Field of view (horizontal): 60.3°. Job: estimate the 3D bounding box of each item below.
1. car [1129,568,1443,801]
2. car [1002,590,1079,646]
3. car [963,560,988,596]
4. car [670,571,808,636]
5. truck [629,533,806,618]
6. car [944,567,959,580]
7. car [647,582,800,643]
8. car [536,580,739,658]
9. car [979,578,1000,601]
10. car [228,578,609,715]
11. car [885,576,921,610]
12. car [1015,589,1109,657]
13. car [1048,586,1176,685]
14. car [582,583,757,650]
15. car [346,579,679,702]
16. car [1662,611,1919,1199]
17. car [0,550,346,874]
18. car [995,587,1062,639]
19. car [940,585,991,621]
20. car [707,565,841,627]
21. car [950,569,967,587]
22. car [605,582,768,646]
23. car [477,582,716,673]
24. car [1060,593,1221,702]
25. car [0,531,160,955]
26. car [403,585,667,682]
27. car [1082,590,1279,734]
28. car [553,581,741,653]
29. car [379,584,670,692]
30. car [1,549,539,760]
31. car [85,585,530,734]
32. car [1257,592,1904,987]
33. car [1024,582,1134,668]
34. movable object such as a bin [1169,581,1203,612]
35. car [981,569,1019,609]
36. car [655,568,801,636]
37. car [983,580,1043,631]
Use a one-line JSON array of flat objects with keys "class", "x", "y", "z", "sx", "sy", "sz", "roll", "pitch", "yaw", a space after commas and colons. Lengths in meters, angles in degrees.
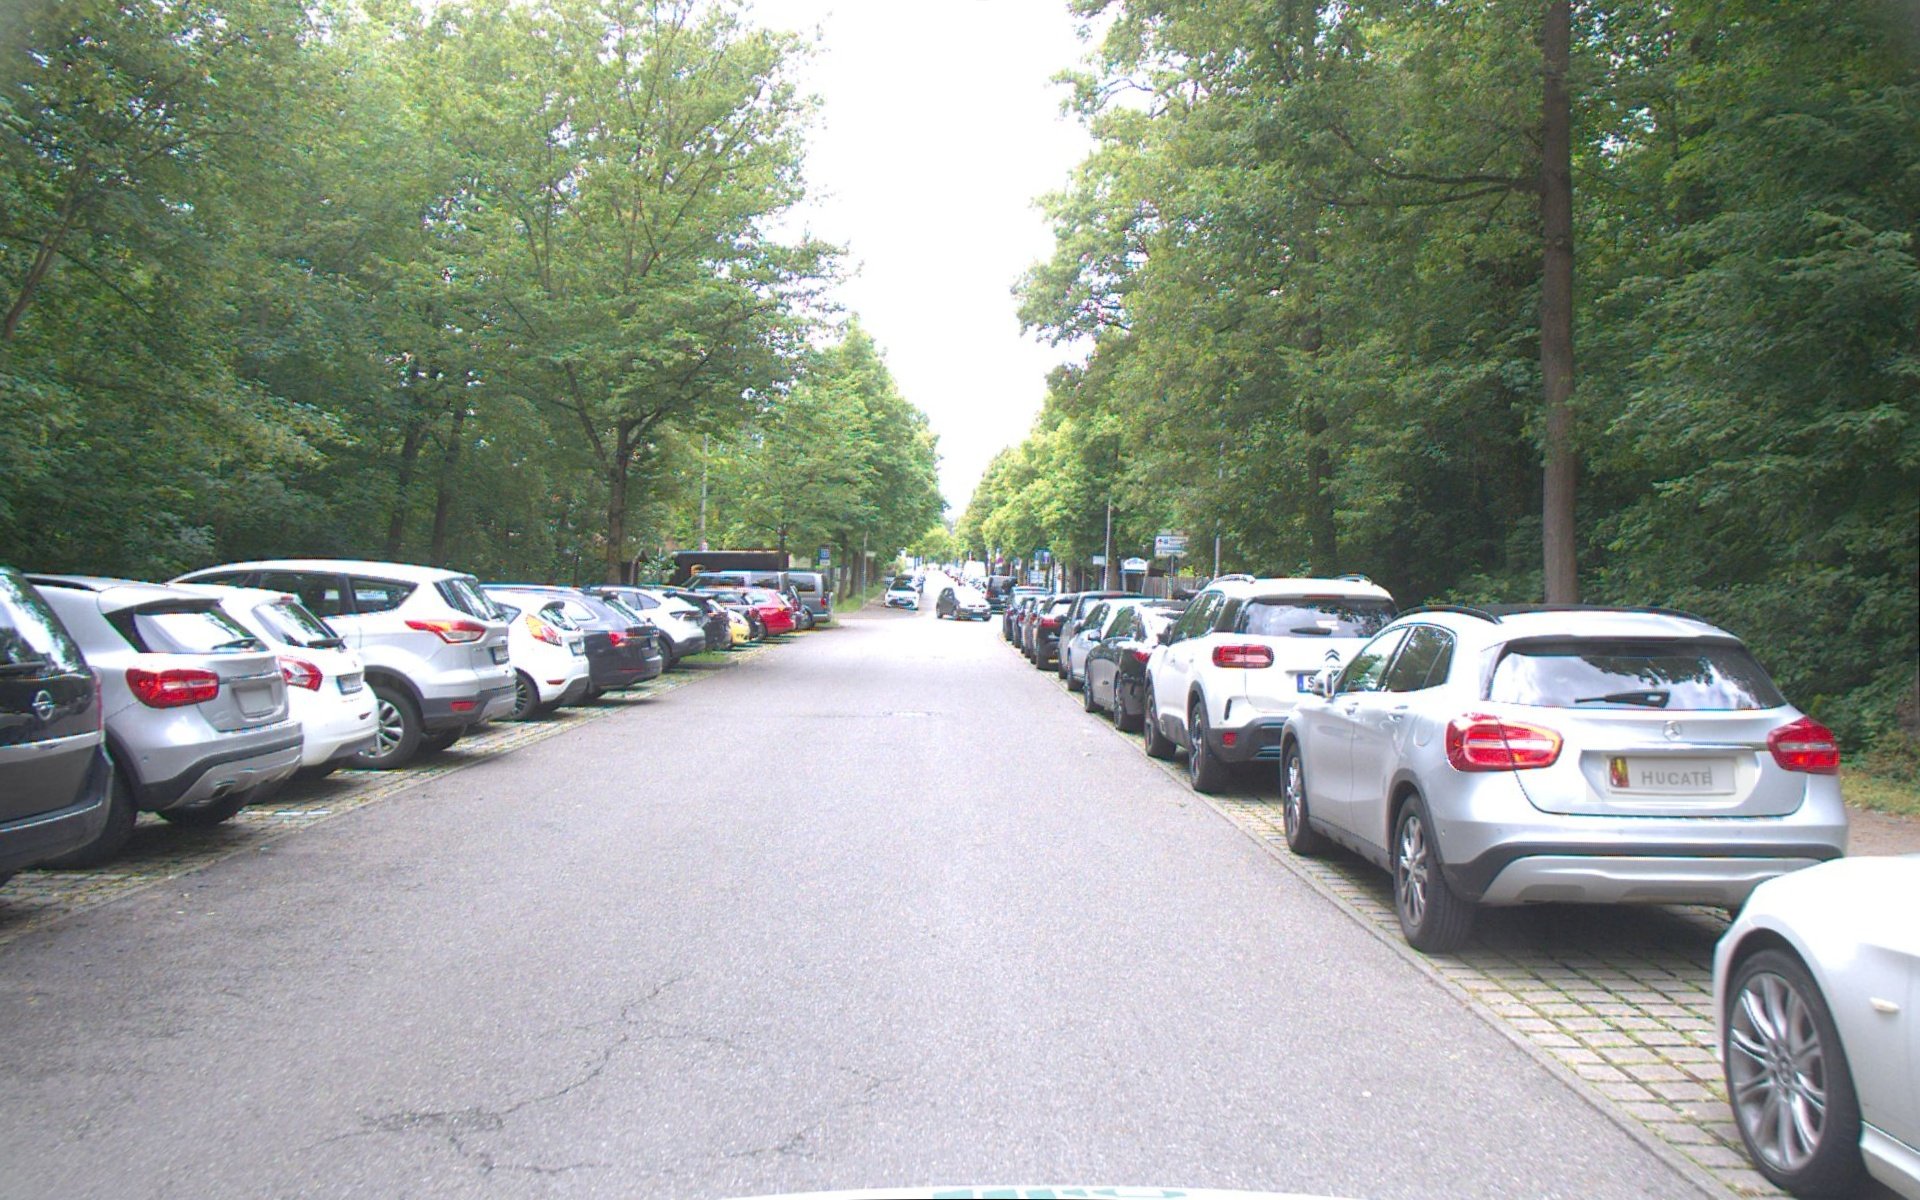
[{"class": "car", "x": 2.648, "y": 0.604, "z": 14.666, "sx": 1.701, "sy": 1.672, "sz": 5.071, "roll": 1, "pitch": 0, "yaw": -1}, {"class": "car", "x": 2.208, "y": 0.458, "z": 46.183, "sx": 1.701, "sy": 1.457, "sz": 4.499, "roll": 1, "pitch": 0, "yaw": -3}, {"class": "car", "x": 1.393, "y": -1.936, "z": 146.939, "sx": 2.139, "sy": 3.068, "sz": 4.897, "roll": 1, "pitch": 1, "yaw": 0}, {"class": "car", "x": -6.601, "y": 0.093, "z": 49.751, "sx": 3.907, "sy": 1.796, "sz": 1.823, "roll": 2, "pitch": 0, "yaw": -3}, {"class": "truck", "x": -10.187, "y": -0.975, "z": 69.315, "sx": 7.119, "sy": 3.292, "sz": 3.431, "roll": 1, "pitch": 0, "yaw": -12}, {"class": "car", "x": -1.264, "y": -3.870, "z": 240.362, "sx": 1.859, "sy": 1.736, "sz": 4.065, "roll": 1, "pitch": 0, "yaw": 3}, {"class": "car", "x": -6.367, "y": 0.322, "z": 44.918, "sx": 3.907, "sy": 1.501, "sz": 1.779, "roll": 2, "pitch": 0, "yaw": -3}, {"class": "car", "x": -6.744, "y": 0.385, "z": 34.838, "sx": 3.906, "sy": 1.463, "sz": 1.715, "roll": 2, "pitch": 0, "yaw": -1}, {"class": "car", "x": 2.098, "y": -0.772, "z": 117.572, "sx": 1.439, "sy": 1.558, "sz": 3.189, "roll": 1, "pitch": 1, "yaw": 0}, {"class": "car", "x": -6.297, "y": 0.542, "z": 19.527, "sx": 3.905, "sy": 1.461, "sz": 1.648, "roll": 1, "pitch": -1, "yaw": 1}, {"class": "car", "x": -2.995, "y": -0.408, "z": 86.350, "sx": 1.730, "sy": 1.623, "sz": 4.214, "roll": 4, "pitch": 1, "yaw": -3}, {"class": "car", "x": 2.336, "y": 0.501, "z": 38.778, "sx": 1.701, "sy": 1.457, "sz": 4.499, "roll": 1, "pitch": 0, "yaw": -3}, {"class": "car", "x": 2.614, "y": 0.570, "z": 29.314, "sx": 1.701, "sy": 1.595, "sz": 4.006, "roll": 1, "pitch": 0, "yaw": -3}, {"class": "car", "x": -6.965, "y": 0.376, "z": 39.884, "sx": 3.906, "sy": 1.463, "sz": 1.617, "roll": 2, "pitch": 0, "yaw": -1}, {"class": "car", "x": -5.846, "y": 0.511, "z": 21.899, "sx": 3.905, "sy": 1.460, "sz": 1.677, "roll": 2, "pitch": 0, "yaw": 1}, {"class": "car", "x": 3.028, "y": 0.785, "z": 2.845, "sx": 1.701, "sy": 1.431, "sz": 4.427, "roll": 1, "pitch": 0, "yaw": -1}, {"class": "car", "x": -5.840, "y": 0.578, "z": 9.542, "sx": 3.905, "sy": 1.691, "sz": 1.814, "roll": 0, "pitch": 0, "yaw": 0}, {"class": "car", "x": 2.096, "y": 0.379, "z": 51.702, "sx": 1.701, "sy": 1.521, "sz": 4.231, "roll": 1, "pitch": 0, "yaw": -3}, {"class": "car", "x": 0.208, "y": 0.140, "z": 75.006, "sx": 1.836, "sy": 1.512, "sz": 3.994, "roll": 1, "pitch": 0, "yaw": -7}, {"class": "car", "x": -6.376, "y": -0.136, "z": 57.115, "sx": 4.412, "sy": 2.013, "sz": 1.890, "roll": 1, "pitch": 0, "yaw": -2}, {"class": "car", "x": -0.196, "y": -2.723, "z": 206.895, "sx": 1.952, "sy": 2.049, "sz": 4.001, "roll": 1, "pitch": 0, "yaw": 3}, {"class": "car", "x": -6.951, "y": 0.338, "z": 42.272, "sx": 3.908, "sy": 1.463, "sz": 1.670, "roll": 2, "pitch": 0, "yaw": -3}, {"class": "car", "x": -6.507, "y": 0.472, "z": 29.911, "sx": 3.906, "sy": 1.493, "sz": 1.714, "roll": 2, "pitch": 0, "yaw": -1}, {"class": "car", "x": 2.620, "y": 0.648, "z": 24.911, "sx": 1.702, "sy": 1.450, "sz": 4.151, "roll": 1, "pitch": 0, "yaw": -4}, {"class": "car", "x": -5.796, "y": 0.566, "z": 7.074, "sx": 3.907, "sy": 1.691, "sz": 1.695, "roll": 0, "pitch": 0, "yaw": -3}, {"class": "car", "x": -7.007, "y": 0.527, "z": 27.546, "sx": 3.905, "sy": 1.460, "sz": 1.702, "roll": 2, "pitch": 0, "yaw": 1}, {"class": "car", "x": 2.544, "y": 0.655, "z": 20.123, "sx": 1.701, "sy": 1.500, "sz": 4.604, "roll": 1, "pitch": 0, "yaw": -1}, {"class": "car", "x": -7.066, "y": 0.365, "z": 37.561, "sx": 3.906, "sy": 1.463, "sz": 1.733, "roll": 2, "pitch": 0, "yaw": -1}, {"class": "car", "x": -6.501, "y": 0.543, "z": 24.962, "sx": 3.905, "sy": 1.460, "sz": 1.677, "roll": 2, "pitch": 0, "yaw": 1}, {"class": "car", "x": -5.841, "y": 0.441, "z": 14.383, "sx": 3.907, "sy": 1.691, "sz": 1.814, "roll": 0, "pitch": 0, "yaw": -2}, {"class": "car", "x": -6.654, "y": 0.604, "z": 17.211, "sx": 3.907, "sy": 1.446, "sz": 1.813, "roll": 0, "pitch": -1, "yaw": -2}, {"class": "car", "x": 2.862, "y": 0.730, "z": 8.877, "sx": 1.700, "sy": 1.505, "sz": 4.770, "roll": 1, "pitch": 0, "yaw": 1}, {"class": "car", "x": 2.370, "y": 0.471, "z": 33.910, "sx": 1.701, "sy": 1.616, "sz": 4.380, "roll": 1, "pitch": 0, "yaw": -3}, {"class": "movable object such as a bin", "x": 10.857, "y": -0.164, "z": 79.485, "sx": 1.276, "sy": 1.468, "sz": 1.061, "roll": 2, "pitch": -1, "yaw": -45}, {"class": "car", "x": 2.141, "y": -0.595, "z": 88.956, "sx": 1.947, "sy": 2.049, "sz": 4.108, "roll": 1, "pitch": 1, "yaw": 0}, {"class": "car", "x": -6.594, "y": 0.056, "z": 47.315, "sx": 3.906, "sy": 1.895, "sz": 1.813, "roll": 0, "pitch": 0, "yaw": -1}, {"class": "car", "x": 1.814, "y": 0.170, "z": 57.452, "sx": 1.701, "sy": 1.662, "sz": 4.373, "roll": 1, "pitch": 0, "yaw": -3}]
